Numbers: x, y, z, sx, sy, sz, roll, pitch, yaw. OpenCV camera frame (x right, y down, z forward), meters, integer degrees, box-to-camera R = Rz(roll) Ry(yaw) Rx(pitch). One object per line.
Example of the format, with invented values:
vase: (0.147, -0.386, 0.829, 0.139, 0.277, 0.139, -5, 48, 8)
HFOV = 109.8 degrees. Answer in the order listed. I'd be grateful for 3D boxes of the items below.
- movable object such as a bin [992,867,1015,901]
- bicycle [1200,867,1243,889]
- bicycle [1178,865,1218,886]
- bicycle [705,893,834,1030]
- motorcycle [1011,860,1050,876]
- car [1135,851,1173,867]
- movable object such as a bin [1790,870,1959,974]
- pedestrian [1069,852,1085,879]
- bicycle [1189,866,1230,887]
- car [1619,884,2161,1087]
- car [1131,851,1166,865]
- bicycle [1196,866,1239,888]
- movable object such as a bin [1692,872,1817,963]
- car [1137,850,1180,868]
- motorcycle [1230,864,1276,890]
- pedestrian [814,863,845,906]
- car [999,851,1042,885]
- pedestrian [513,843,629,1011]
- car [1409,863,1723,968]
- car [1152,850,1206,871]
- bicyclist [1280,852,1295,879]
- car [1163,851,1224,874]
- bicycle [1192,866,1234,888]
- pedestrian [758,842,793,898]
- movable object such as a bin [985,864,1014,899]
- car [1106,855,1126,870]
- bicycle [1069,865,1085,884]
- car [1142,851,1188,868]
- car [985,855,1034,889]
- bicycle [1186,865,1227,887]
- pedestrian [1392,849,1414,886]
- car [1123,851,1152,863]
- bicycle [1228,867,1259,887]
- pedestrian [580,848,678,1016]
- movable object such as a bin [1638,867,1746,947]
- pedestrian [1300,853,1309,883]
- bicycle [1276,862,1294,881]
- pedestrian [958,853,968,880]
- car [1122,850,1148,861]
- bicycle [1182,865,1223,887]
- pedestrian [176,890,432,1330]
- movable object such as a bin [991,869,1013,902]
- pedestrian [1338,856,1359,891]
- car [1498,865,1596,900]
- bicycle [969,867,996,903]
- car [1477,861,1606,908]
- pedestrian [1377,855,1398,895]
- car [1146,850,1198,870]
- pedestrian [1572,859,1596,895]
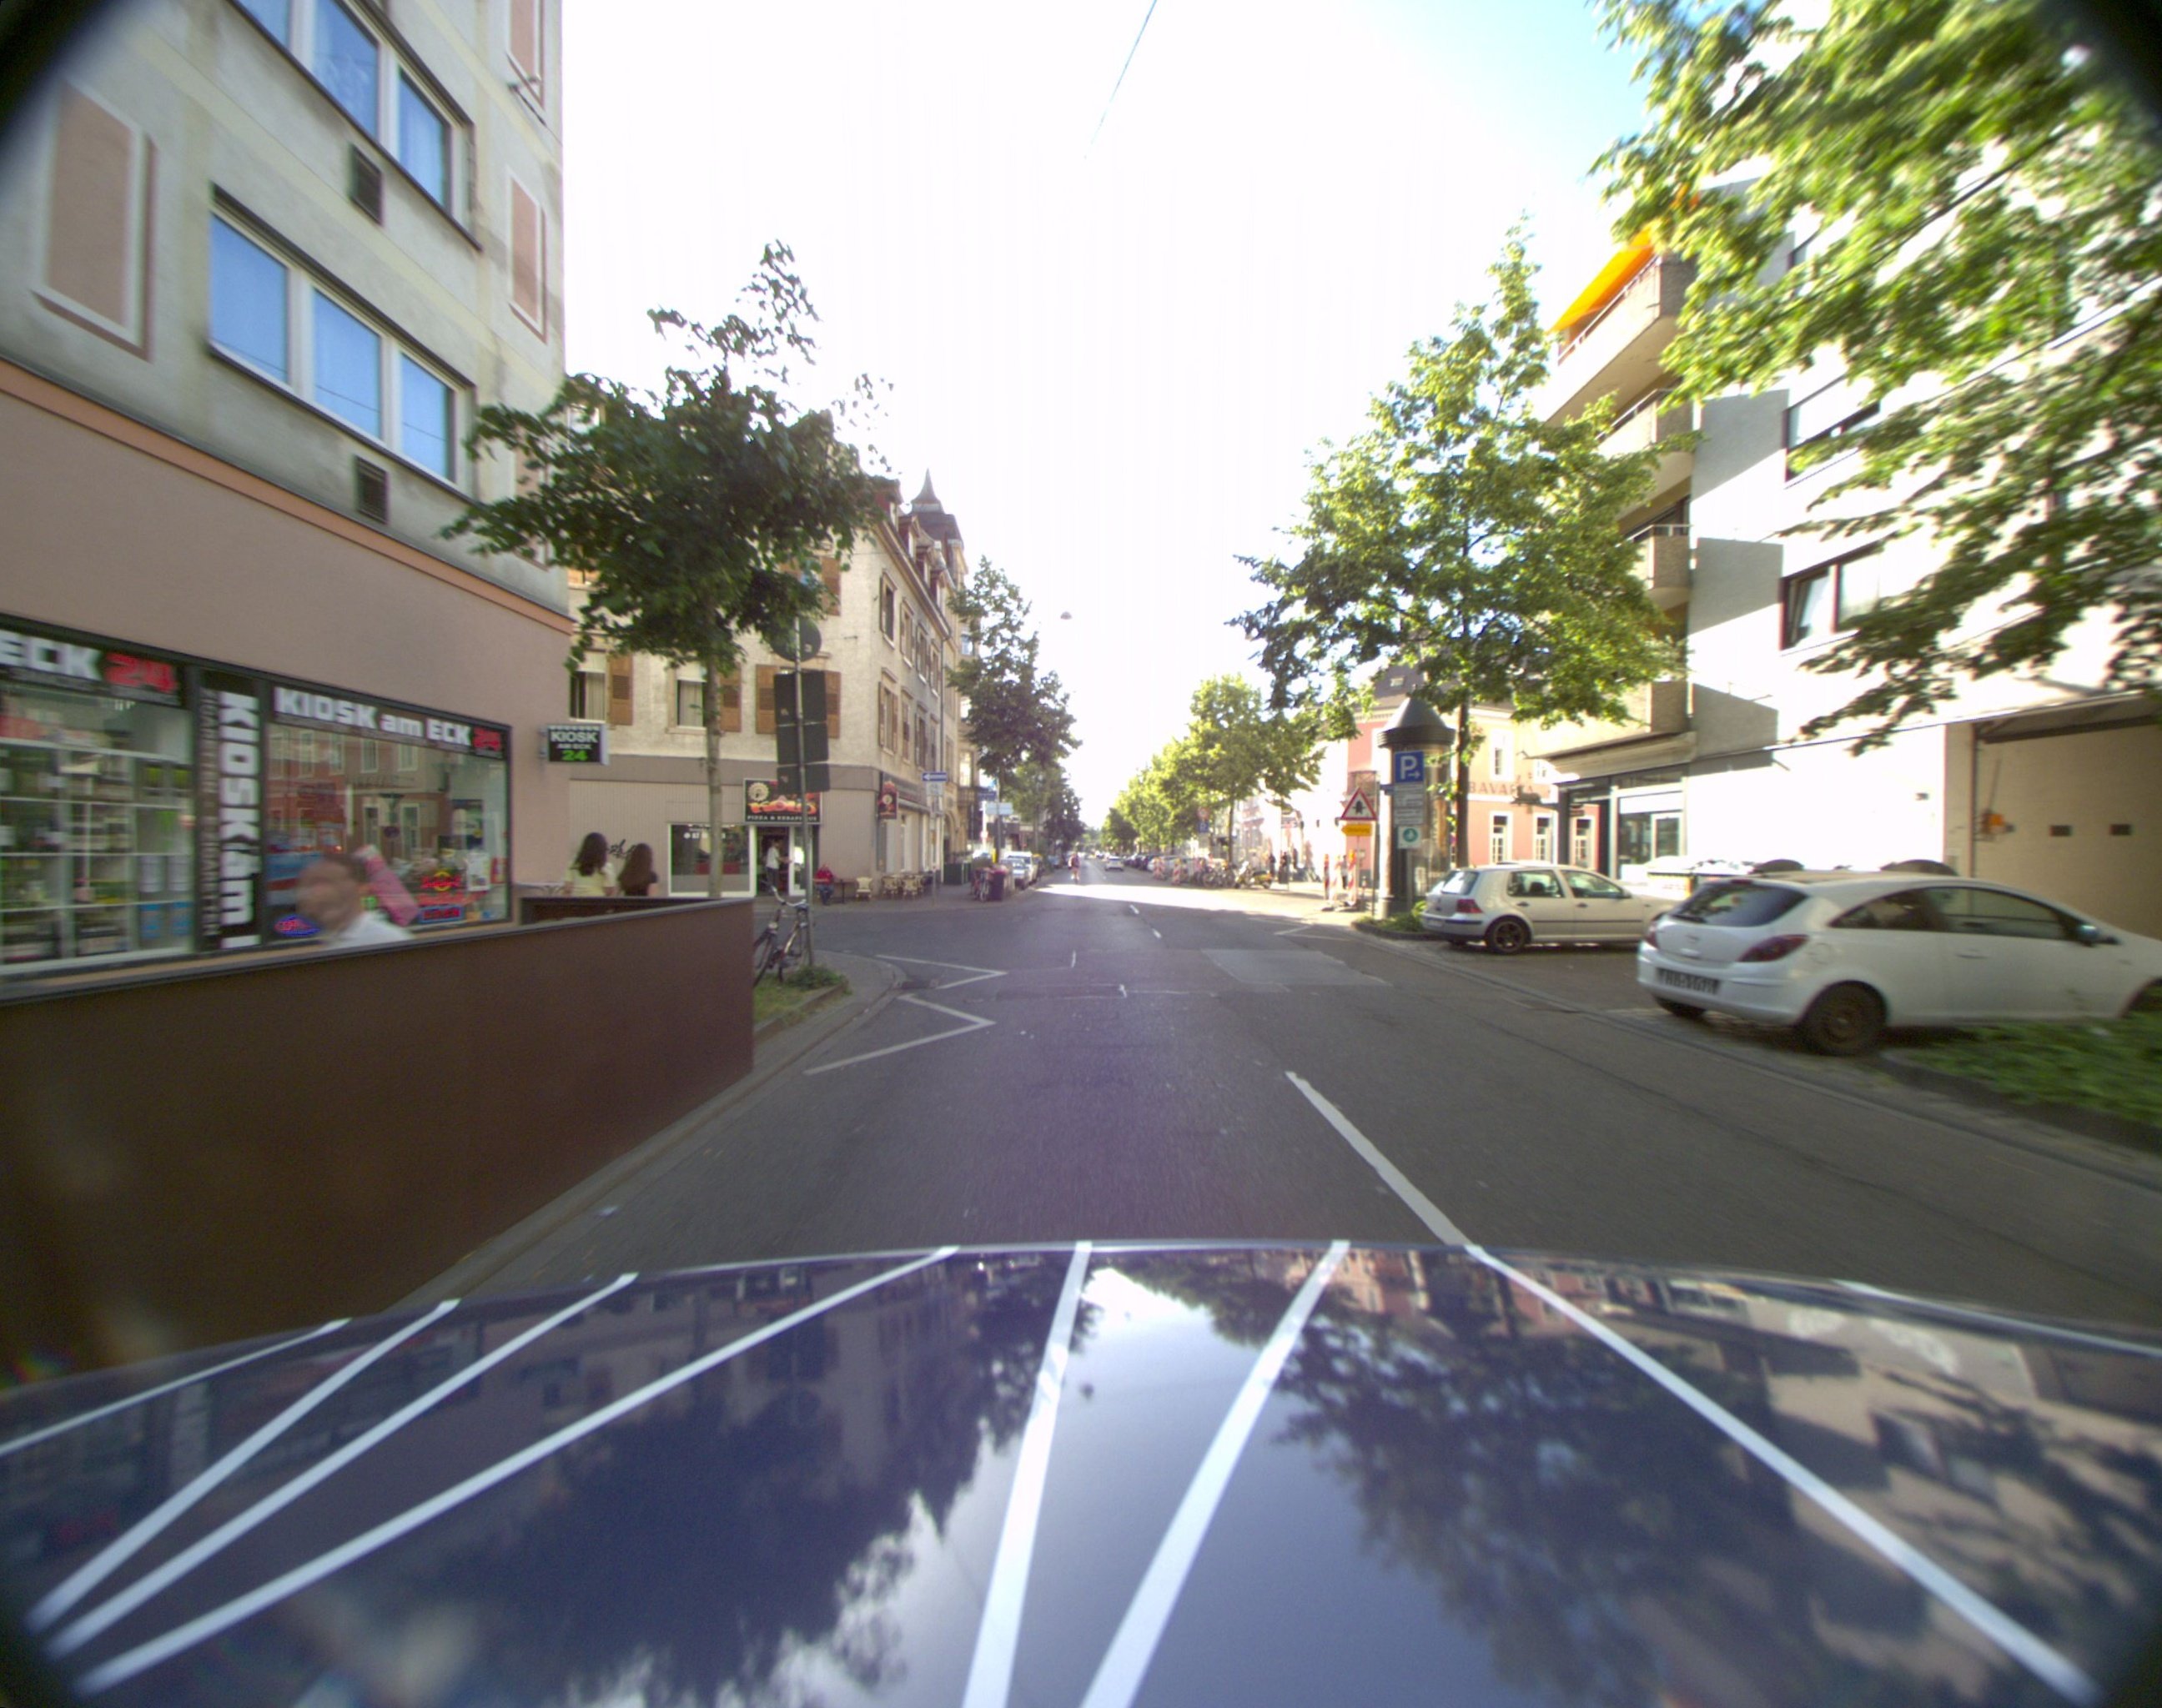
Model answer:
movable object such as a bin: (-2.743, 1.058, 26.841, 0.721, 1.149, 0.602, 1, 0, 2)
bicycle: (6.703, 1.145, 36.320, 2.006, 1.023, 0.473, -1, 1, -13)
bicycle: (6.057, 1.103, 39.232, 2.006, 1.023, 0.473, -1, 1, -13)
bicycle: (-3.257, 1.063, 8.167, 0.509, 1.157, 2.144, 1, 0, 0)
motorcycle: (-3.647, 1.004, 54.953, 2.656, 1.071, 0.962, 1, 0, -14)
car: (8.159, 0.581, 85.218, 4.135, 1.792, 1.911, 0, 1, -1)
movable object such as a bin: (11.733, 0.961, 11.308, 1.080, 1.406, 1.352, 1, 0, 1)
pedestrian: (-0.224, 0.591, 39.795, 0.804, 1.381, 0.931, 0, 0, -1)
bicycle: (6.398, 1.117, 37.830, 2.006, 1.023, 0.473, -1, 1, -13)
car: (7.207, 1.031, 6.683, 3.788, 1.455, 1.709, 0, 0, -2)
car: (8.382, 0.485, 94.857, 4.135, 1.792, 1.911, 0, 1, -1)
bicycle: (6.602, 1.121, 36.847, 2.006, 1.023, 0.473, -1, 1, -13)
movable object such as a bin: (11.691, 1.072, 13.243, 1.035, 1.451, 1.258, 1, 0, 1)
car: (7.831, 0.520, 77.331, 4.135, 1.792, 1.911, 0, 1, -1)
motorcycle: (8.027, 1.059, 35.491, 2.003, 1.178, 0.740, 0, 0, 3)
pedestrian: (-7.683, 0.927, 23.198, 0.714, 1.252, 0.589, 0, 3, -39)
car: (-3.159, 0.713, 40.312, 1.835, 1.641, 4.159, 2, 0, 1)
pedestrian: (-5.263, 0.721, 7.877, 0.643, 1.635, 0.748, 2, 0, -1)
car: (7.727, 0.950, 12.400, 4.008, 1.456, 1.748, -1, 2, 0)
car: (7.929, 0.497, 61.584, 4.135, 1.670, 2.000, 0, 1, -1)
bicyclist: (11.673, 0.638, 43.002, 0.570, 1.495, 0.751, 1, 3, 0)
car: (8.261, 0.631, 56.030, 4.135, 1.670, 2.000, 0, 1, -1)
bicycle: (6.504, 1.123, 37.339, 2.006, 1.023, 0.473, -1, 1, -13)
pedestrian: (-9.526, 0.473, 23.686, 0.801, 1.687, 0.705, 0, 3, -39)
movable object such as a bin: (-2.973, 0.990, 27.669, 0.944, 1.207, 0.699, 2, 1, 1)
car: (3.508, 0.816, 75.925, 1.835, 1.410, 3.833, 1, 0, 0)
bicycle: (-0.219, 1.061, 39.787, 0.805, 0.958, 1.996, 0, 0, -1)
car: (7.908, 0.516, 72.186, 4.135, 1.585, 1.911, 0, 1, -1)
car: (-3.249, 0.803, 35.265, 1.835, 1.410, 4.159, 2, 0, 0)
bicycle: (6.301, 1.113, 38.253, 2.006, 1.023, 0.473, -1, 1, -13)
pedestrian: (14.894, 0.622, 35.143, 0.581, 1.653, 0.705, 0, 1, -37)
car: (8.583, 0.415, 115.655, 4.135, 1.792, 1.911, 0, 1, -1)
bicycle: (8.017, 1.122, 37.559, 1.513, 0.945, 0.360, 0, 1, 41)
pedestrian: (-4.671, 0.772, 7.887, 0.515, 1.635, 0.748, 2, 0, -1)
movable object such as a bin: (11.739, 0.990, 14.648, 1.035, 1.451, 1.258, 1, 0, 1)
pedestrian: (13.062, 0.811, 44.405, 0.517, 1.716, 0.526, 1, 1, 17)
bicycle: (11.668, 1.000, 43.442, 0.570, 1.081, 1.652, 1, -1, 0)
pedestrian: (-6.430, 0.683, 41.436, 0.460, 1.434, 0.521, 0, 1, -1)
car: (8.972, 0.276, 126.664, 4.135, 1.792, 1.911, 0, 1, -1)
bicycle: (6.190, 1.113, 38.723, 2.006, 1.023, 0.473, -1, 1, -13)
pedestrian: (-2.915, 0.910, 2.891, 0.474, 1.520, 0.462, 0, 1, 1)
movable object such as a bin: (-2.710, 1.077, 26.190, 0.634, 1.062, 0.602, 2, 3, 2)
pedestrian: (12.135, 0.871, 34.508, 0.650, 1.592, 0.863, 0, 0, 0)
car: (20.697, 1.246, 33.768, 3.607, 1.468, 1.996, 1, 0, -24)
bicycle: (-3.390, 1.048, 26.066, 0.379, 1.139, 1.669, 2, 1, -24)
car: (15.438, 0.996, 25.524, 3.607, 1.468, 1.901, 1, 0, -22)
pedestrian: (13.512, 0.917, 33.510, 0.630, 1.716, 0.580, 1, 1, -3)
car: (7.660, 0.500, 64.016, 4.135, 1.670, 2.000, 0, 1, -1)
pedestrian: (24.272, 1.106, 36.697, 0.635, 1.740, 0.706, 1, 1, -22)
